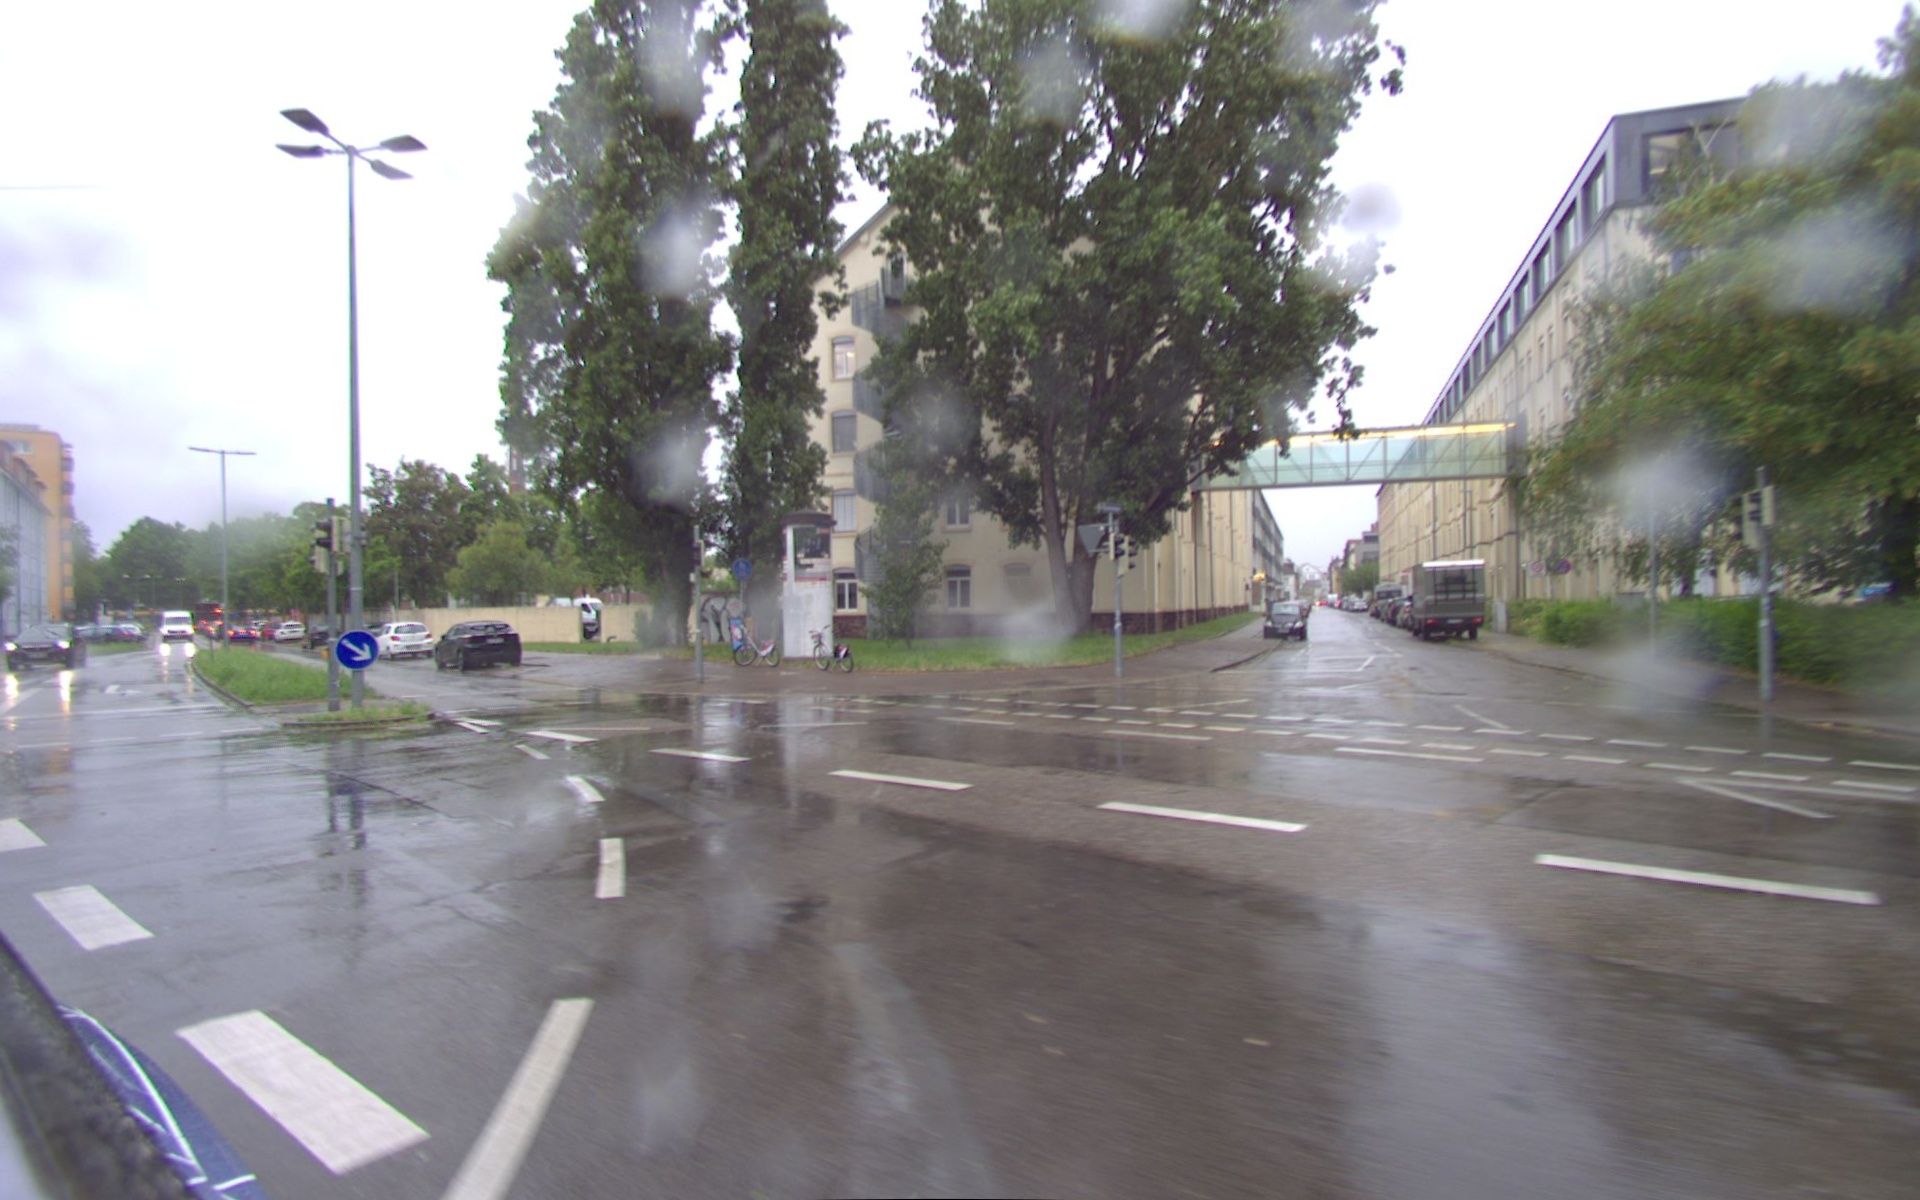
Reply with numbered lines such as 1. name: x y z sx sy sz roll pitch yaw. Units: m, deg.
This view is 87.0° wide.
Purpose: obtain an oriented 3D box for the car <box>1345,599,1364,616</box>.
1. car: 47.395 0.901 121.642 1.986 1.868 3.972 -2 0 21

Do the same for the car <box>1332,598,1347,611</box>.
1. car: 55.338 0.671 147.665 1.986 1.868 3.972 -2 0 21

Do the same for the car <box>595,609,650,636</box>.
1. car: -28.067 1.874 84.082 3.971 2.029 1.986 -2 0 21

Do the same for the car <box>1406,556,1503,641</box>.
1. car: 20.371 -0.073 42.014 2.817 3.218 6.176 -2 0 19

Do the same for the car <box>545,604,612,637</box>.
1. car: -29.971 1.578 79.480 4.688 2.414 2.134 -2 0 22

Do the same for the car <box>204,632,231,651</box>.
1. car: -74.057 4.113 100.901 2.039 1.755 4.183 -2 0 -38

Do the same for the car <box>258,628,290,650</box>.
1. car: -53.893 3.038 79.448 1.604 1.610 3.803 -2 0 -41

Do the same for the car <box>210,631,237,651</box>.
1. car: -70.107 3.909 96.316 2.039 1.755 4.183 -2 0 -37

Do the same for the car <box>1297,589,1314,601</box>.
1. car: 56.496 -0.835 165.445 2.319 1.824 5.577 -2 0 20

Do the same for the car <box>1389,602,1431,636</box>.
1. car: 26.634 1.119 60.019 1.985 1.829 3.973 -2 0 20

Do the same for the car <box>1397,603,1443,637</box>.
1. car: 24.880 1.069 54.890 1.879 1.694 3.974 -2 0 20

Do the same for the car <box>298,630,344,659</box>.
1. car: -36.094 2.480 57.097 1.674 1.456 4.105 -3 0 -39

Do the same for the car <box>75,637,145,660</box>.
1. car: -66.691 3.790 79.497 4.107 1.487 1.654 -2 0 -37

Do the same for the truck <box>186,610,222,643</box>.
1. truck: -105.798 3.667 141.526 3.774 4.418 10.807 -2 0 -38

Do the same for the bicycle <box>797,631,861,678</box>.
1. bicycle: -3.187 1.301 24.525 0.549 1.085 1.797 -2 0 -44

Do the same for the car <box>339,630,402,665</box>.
1. car: -26.677 2.123 45.761 1.705 1.393 4.186 -4 1 -40

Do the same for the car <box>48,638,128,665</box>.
1. car: -54.921 3.251 63.804 3.703 1.466 1.804 -2 -2 -38

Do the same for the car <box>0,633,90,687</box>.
1. car: -31.310 2.003 34.643 1.803 1.641 4.010 -2 0 -34

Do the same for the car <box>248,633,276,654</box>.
1. car: -61.968 3.812 89.826 1.853 1.695 4.046 -2 0 -38

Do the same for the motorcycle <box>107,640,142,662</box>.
1. motorcycle: -56.992 3.440 69.041 1.740 1.383 0.736 -2 0 -37

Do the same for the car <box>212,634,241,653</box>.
1. car: -60.088 3.553 82.849 1.684 1.512 3.953 2 -3 -39

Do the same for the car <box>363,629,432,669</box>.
1. car: -22.992 1.954 41.326 1.582 1.485 4.128 -2 0 -42

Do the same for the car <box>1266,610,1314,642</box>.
1. car: 15.051 1.169 46.070 1.893 1.279 4.069 -2 0 20

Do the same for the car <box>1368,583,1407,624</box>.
1. car: 32.220 0.249 76.383 2.319 2.893 5.577 -2 0 20

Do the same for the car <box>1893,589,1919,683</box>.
1. car: 19.243 0.601 17.587 3.988 1.699 1.773 -2 -1 16

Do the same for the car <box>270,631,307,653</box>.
1. car: -48.589 3.003 73.177 1.752 1.471 4.688 -2 0 -39

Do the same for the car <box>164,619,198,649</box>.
1. car: -64.772 2.805 84.165 2.160 2.272 4.894 -2 0 -38

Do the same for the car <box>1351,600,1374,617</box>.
1. car: 46.012 0.922 115.730 2.319 1.824 4.702 -2 0 20

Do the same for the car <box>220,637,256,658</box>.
1. car: -51.373 3.380 71.998 1.705 1.404 3.957 2 -3 -40

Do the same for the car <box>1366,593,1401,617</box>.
1. car: 34.965 0.373 83.653 2.319 1.824 5.577 -2 0 20

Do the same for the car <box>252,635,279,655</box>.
1. car: -57.362 3.673 83.530 1.668 1.465 3.726 -2 0 -37

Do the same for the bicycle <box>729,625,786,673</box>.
1. bicycle: -5.406 1.294 26.960 0.689 1.195 1.625 -2 0 -44

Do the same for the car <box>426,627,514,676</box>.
1. car: -15.937 1.623 32.800 1.525 1.408 4.201 -3 1 -40
